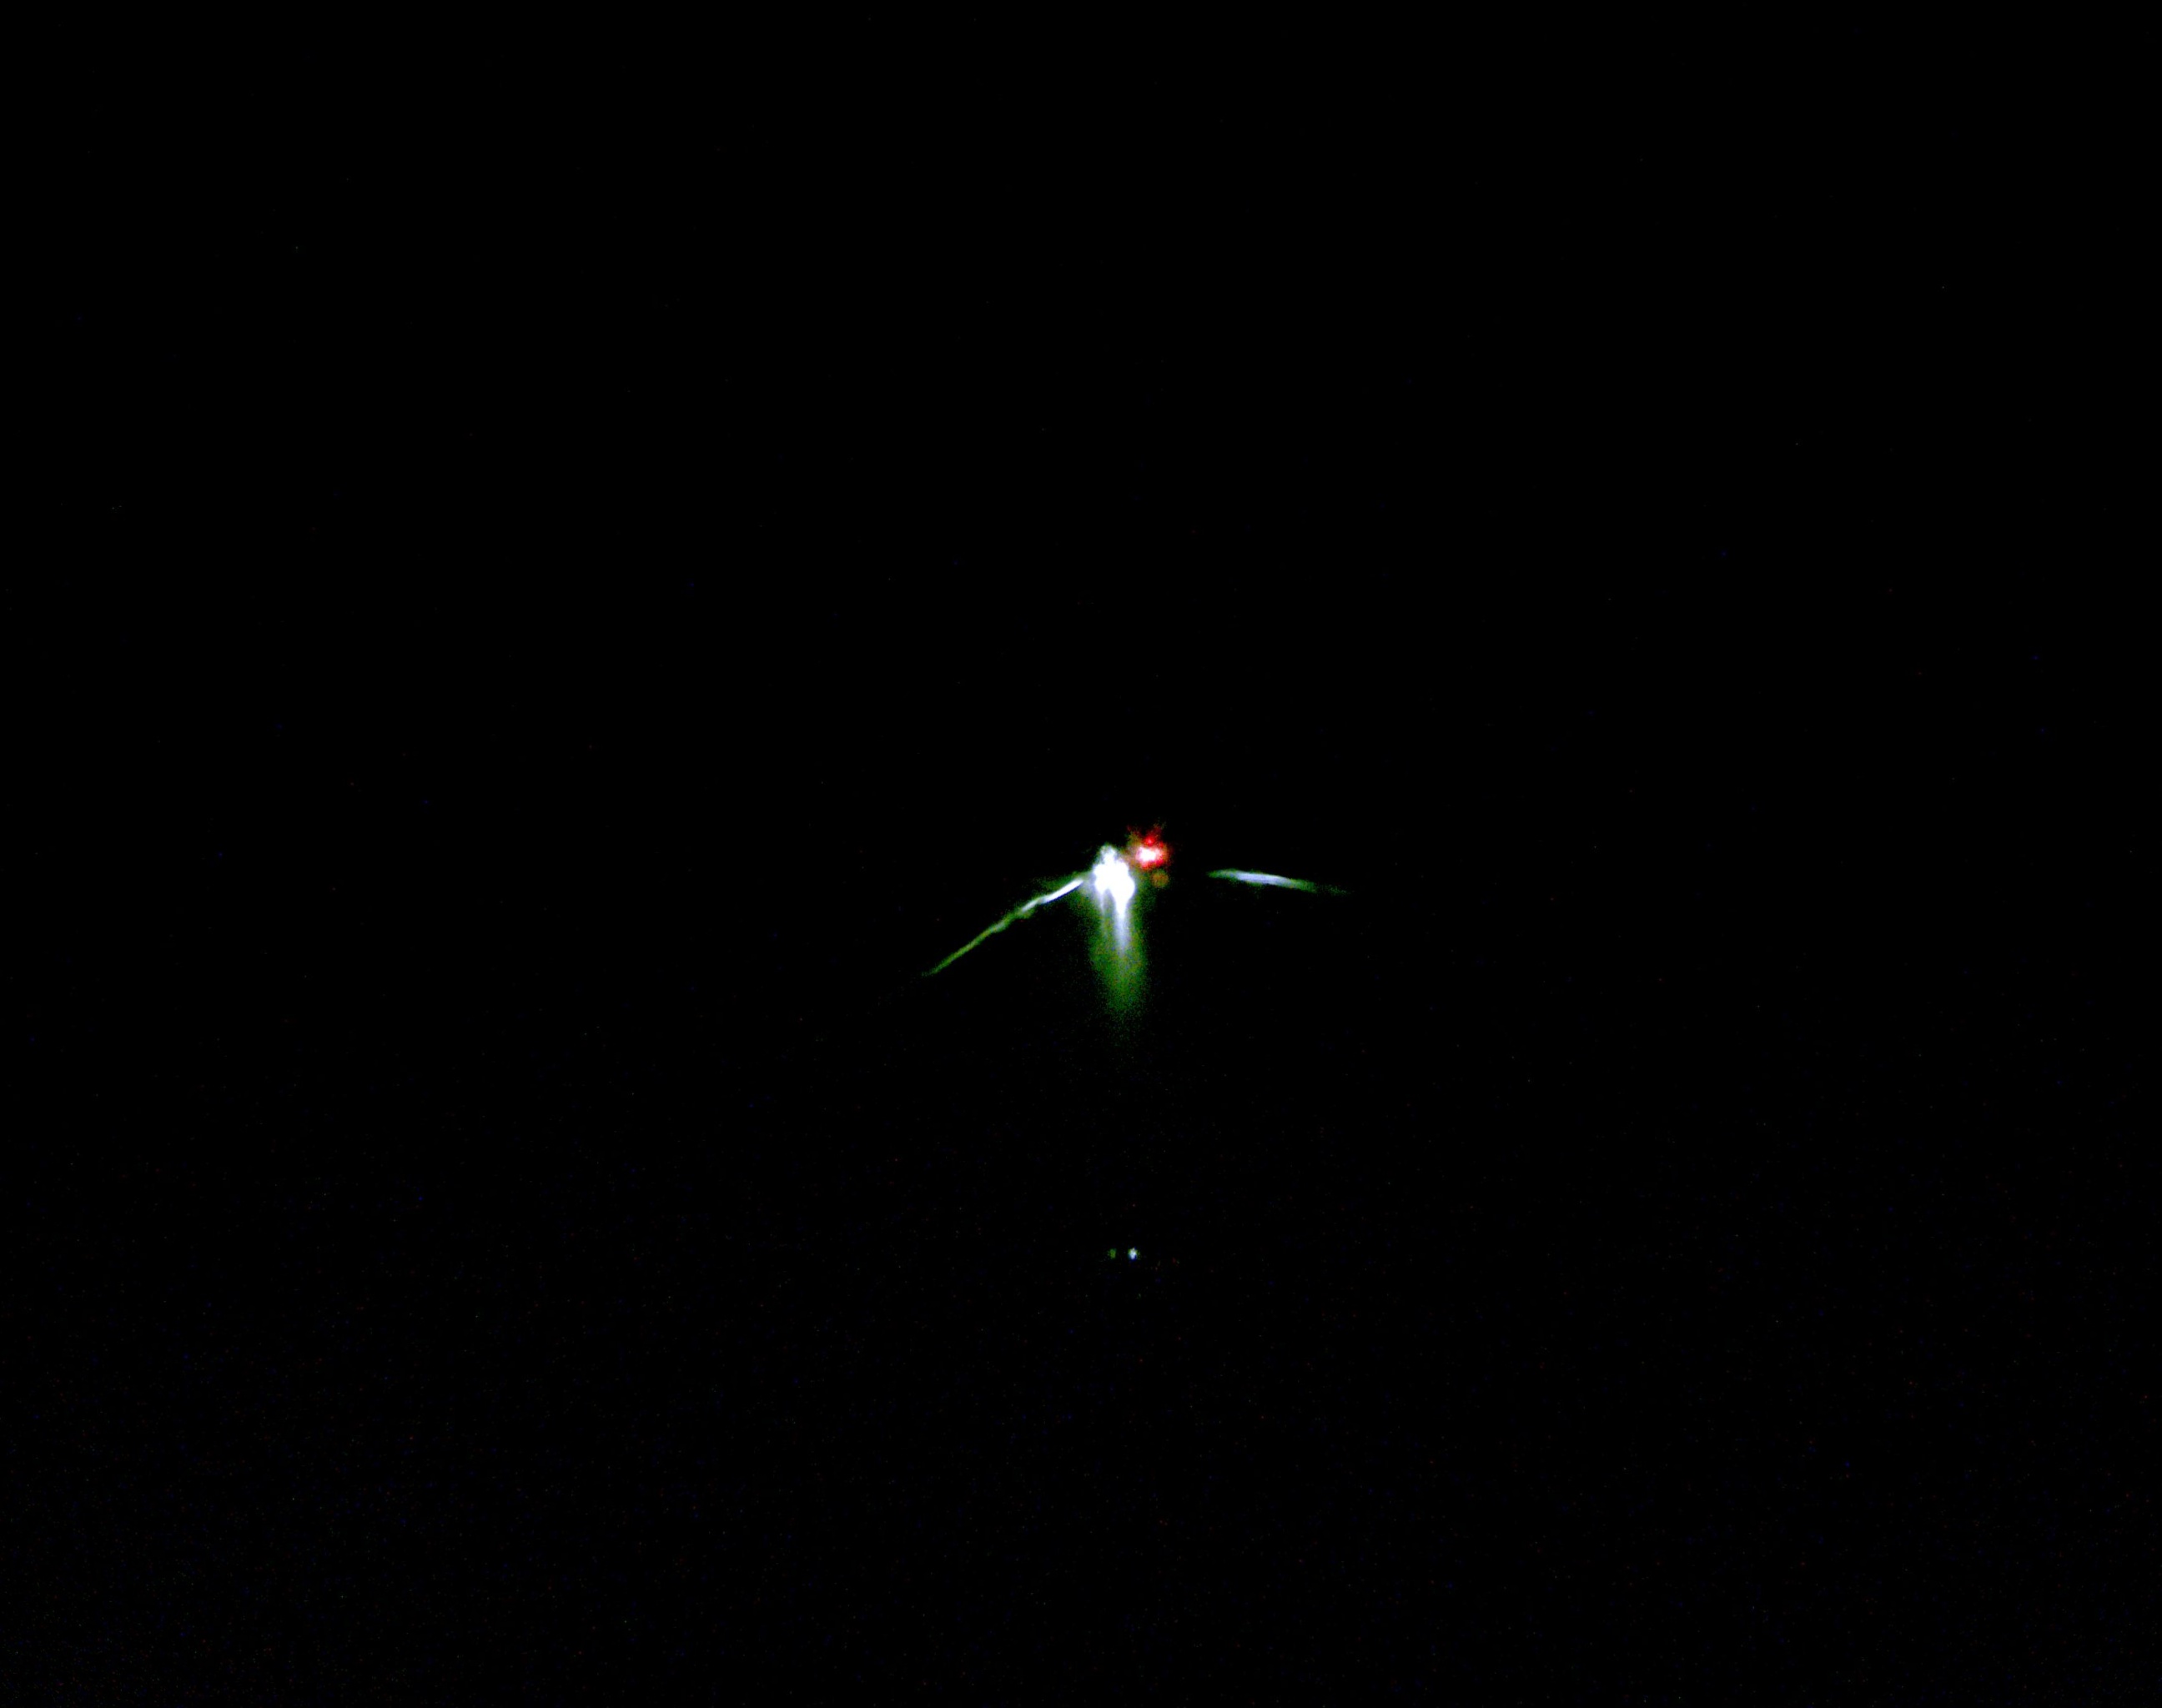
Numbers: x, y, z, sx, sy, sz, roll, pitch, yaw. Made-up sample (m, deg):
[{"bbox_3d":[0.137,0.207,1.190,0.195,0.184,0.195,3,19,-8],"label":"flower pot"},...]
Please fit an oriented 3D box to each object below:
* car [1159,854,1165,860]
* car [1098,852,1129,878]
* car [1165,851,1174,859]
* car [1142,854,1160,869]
[{"bbox_3d":[24.371,0.925,229.433,1.789,1.623,4.427,-3,0,5],"label":"car"},{"bbox_3d":[2.575,0.828,59.442,1.998,1.804,4.002,-4,0,6],"label":"car"},{"bbox_3d":[18.575,0.224,159.586,1.834,1.545,4.443,-3,0,5],"label":"car"},{"bbox_3d":[7.675,0.783,82.967,1.859,1.512,4.682,-3,0,5],"label":"car"}]
